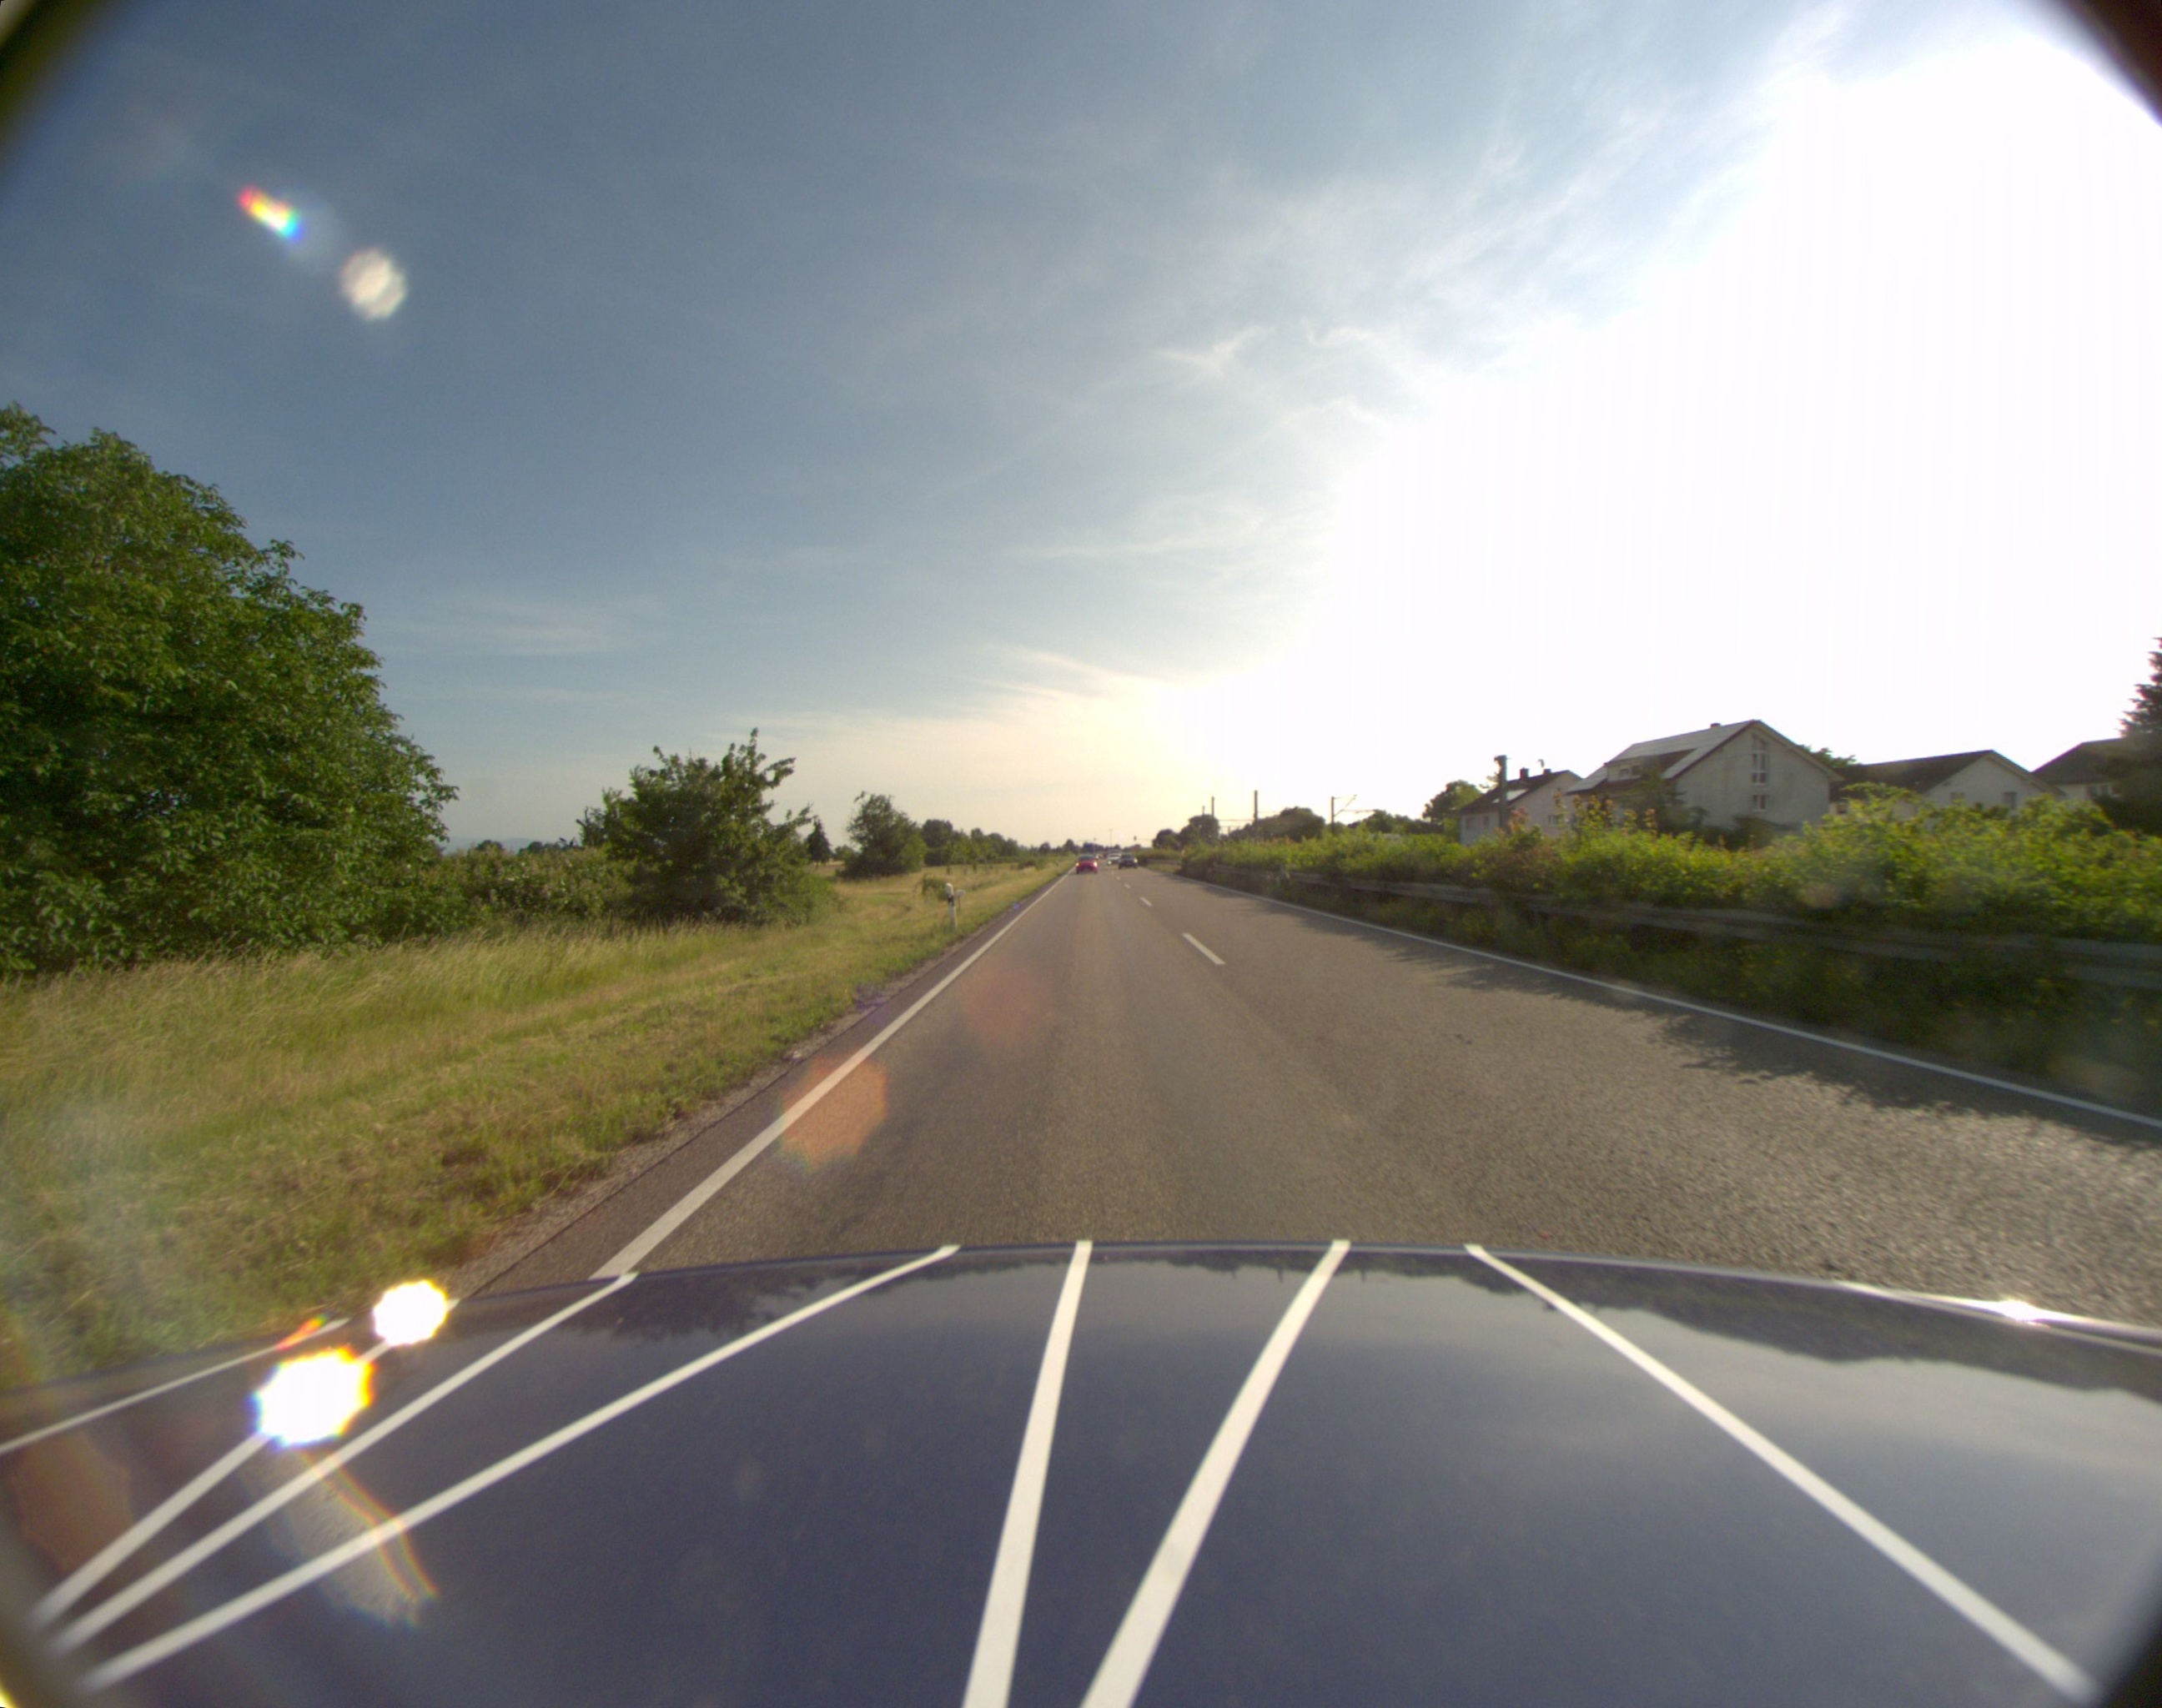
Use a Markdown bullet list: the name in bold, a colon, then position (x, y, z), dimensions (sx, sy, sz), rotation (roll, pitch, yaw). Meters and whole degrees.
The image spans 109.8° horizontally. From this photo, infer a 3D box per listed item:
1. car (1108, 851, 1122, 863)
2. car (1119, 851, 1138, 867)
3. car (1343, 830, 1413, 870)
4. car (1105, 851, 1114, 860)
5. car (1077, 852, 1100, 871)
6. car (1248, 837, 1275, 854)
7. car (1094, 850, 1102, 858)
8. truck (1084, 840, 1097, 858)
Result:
- **car**: position (4.353, 0.362, 96.962), dimensions (1.636, 1.442, 4.000), rotation (-3, 0, 1)
- **car**: position (4.579, 0.473, 73.625), dimensions (1.636, 1.500, 4.000), rotation (-3, 0, 1)
- **car**: position (16.472, -0.219, 42.466), dimensions (1.998, 2.002, 4.871), rotation (-3, 0, 1)
- **car**: position (6.375, 0.380, 171.730), dimensions (1.998, 2.002, 4.000), rotation (-2, 0, 1)
- **car**: position (0.634, 0.599, 62.314), dimensions (1.735, 1.467, 4.000), rotation (-3, 0, 1)
- **car**: position (20.114, -0.953, 84.785), dimensions (1.998, 1.740, 4.000), rotation (-3, 0, 1)
- **car**: position (3.434, 0.035, 154.465), dimensions (1.636, 1.442, 4.000), rotation (-3, 0, 1)
- **truck**: position (2.331, -1.182, 182.289), dimensions (2.849, 3.896, 10.104), rotation (-3, 0, 1)
